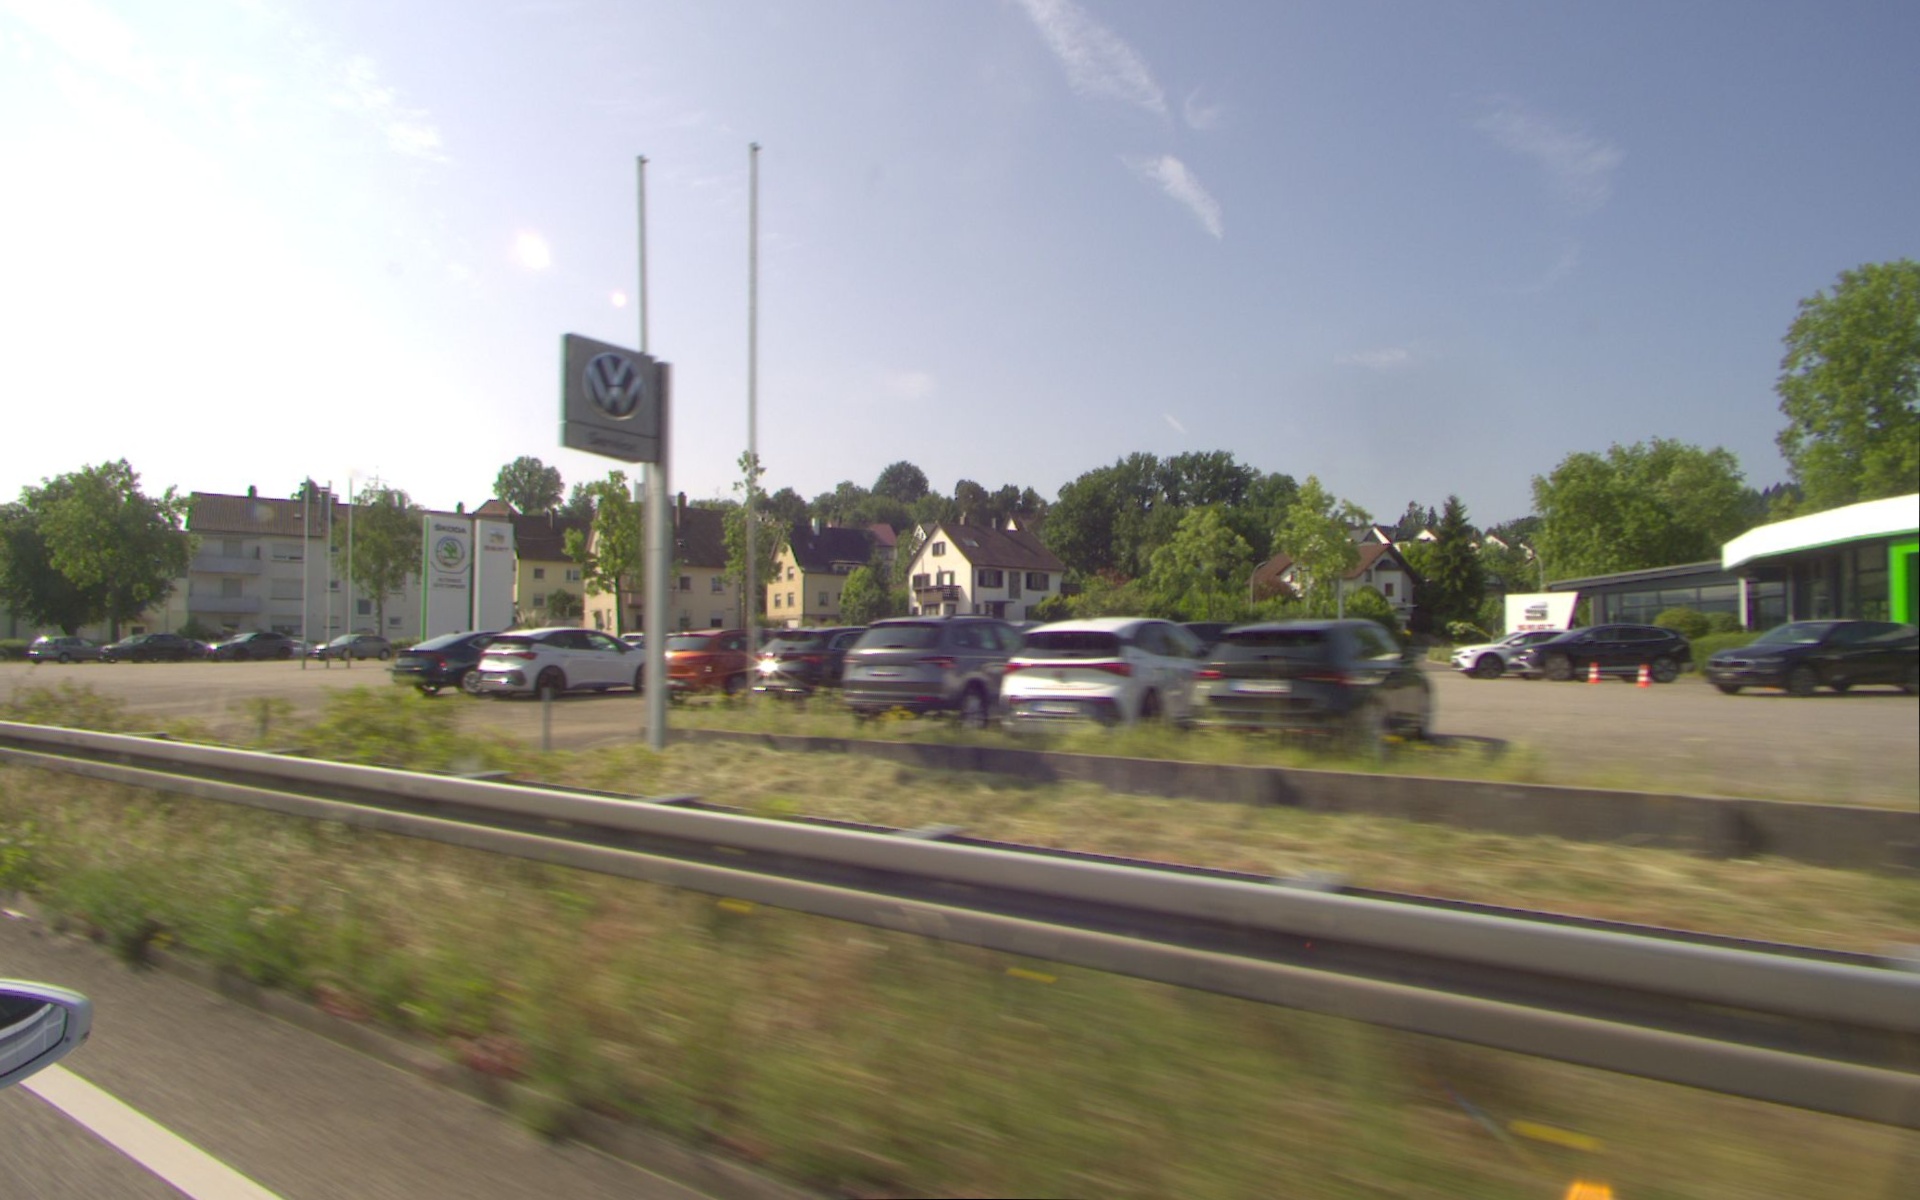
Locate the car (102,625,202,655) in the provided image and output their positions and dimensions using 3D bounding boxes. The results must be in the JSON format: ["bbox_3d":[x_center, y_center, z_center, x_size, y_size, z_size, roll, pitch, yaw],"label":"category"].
[{"bbox_3d":[-45.284,2.249,56.273,1.805,1.620,4.499,0,-2,4],"label":"car"}]

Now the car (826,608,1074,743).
[{"bbox_3d":[0.022,0.980,14.299,1.765,1.630,4.073,-1,-2,29],"label":"car"}]

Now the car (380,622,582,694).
[{"bbox_3d":[-11.388,1.313,24.096,1.796,1.536,4.154,-1,-1,27],"label":"car"}]

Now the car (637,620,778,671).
[{"bbox_3d":[-8.659,1.525,34.707,1.905,1.585,4.726,-1,-1,33],"label":"car"}]

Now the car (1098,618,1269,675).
[{"bbox_3d":[6.505,1.358,29.587,4.659,1.585,1.932,-1,-1,3],"label":"car"}]

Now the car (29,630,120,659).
[{"bbox_3d":[-49.094,2.466,55.614,1.625,1.541,3.767,0,-2,1],"label":"car"}]

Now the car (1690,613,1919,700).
[{"bbox_3d":[17.227,1.083,19.997,4.274,1.585,1.790,-1,-1,-9],"label":"car"}]

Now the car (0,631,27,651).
[{"bbox_3d":[-58.788,2.488,60.442,3.591,1.201,1.595,0,-1,3],"label":"car"}]

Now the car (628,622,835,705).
[{"bbox_3d":[-4.431,1.196,19.996,1.798,1.464,3.982,-1,-2,31],"label":"car"}]

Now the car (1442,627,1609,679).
[{"bbox_3d":[17.891,1.674,31.905,4.275,1.585,1.789,-1,-1,13],"label":"car"}]

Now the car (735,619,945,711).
[{"bbox_3d":[-2.086,1.120,18.504,1.815,1.505,3.982,-1,-2,31],"label":"car"}]

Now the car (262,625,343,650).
[{"bbox_3d":[-40.709,2.334,62.028,3.911,1.493,1.788,0,-1,3],"label":"car"}]

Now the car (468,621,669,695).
[{"bbox_3d":[-8.880,1.273,23.037,1.798,1.535,4.087,-1,-2,31],"label":"car"}]

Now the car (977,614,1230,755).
[{"bbox_3d":[2.004,0.976,12.929,1.765,1.513,3.980,-1,-2,32],"label":"car"}]

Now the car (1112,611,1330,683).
[{"bbox_3d":[6.140,1.090,23.929,4.659,1.585,1.932,-1,-1,-1],"label":"car"}]

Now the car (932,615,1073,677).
[{"bbox_3d":[1.319,1.253,28.712,1.905,1.585,4.726,-1,-1,33],"label":"car"}]

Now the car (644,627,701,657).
[{"bbox_3d":[-16.773,2.409,58.634,1.894,1.609,4.753,-1,-1,1],"label":"car"}]

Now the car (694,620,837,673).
[{"bbox_3d":[-6.343,1.478,33.185,1.905,1.585,4.726,-1,-1,33],"label":"car"}]

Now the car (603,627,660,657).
[{"bbox_3d":[-19.148,2.421,58.607,1.894,1.609,4.752,-1,-1,-2],"label":"car"}]

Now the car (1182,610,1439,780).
[{"bbox_3d":[4.011,0.910,11.041,1.707,1.513,3.977,-1,-2,34],"label":"car"}]

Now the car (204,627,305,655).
[{"bbox_3d":[-39.433,2.275,56.130,1.829,1.541,4.635,-1,-2,11],"label":"car"}]

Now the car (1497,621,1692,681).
[{"bbox_3d":[17.752,1.408,28.191,4.272,1.585,1.791,-1,-1,6],"label":"car"}]

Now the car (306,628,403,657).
[{"bbox_3d":[-33.871,2.358,56.206,1.959,1.541,4.760,-1,-2,11],"label":"car"}]
